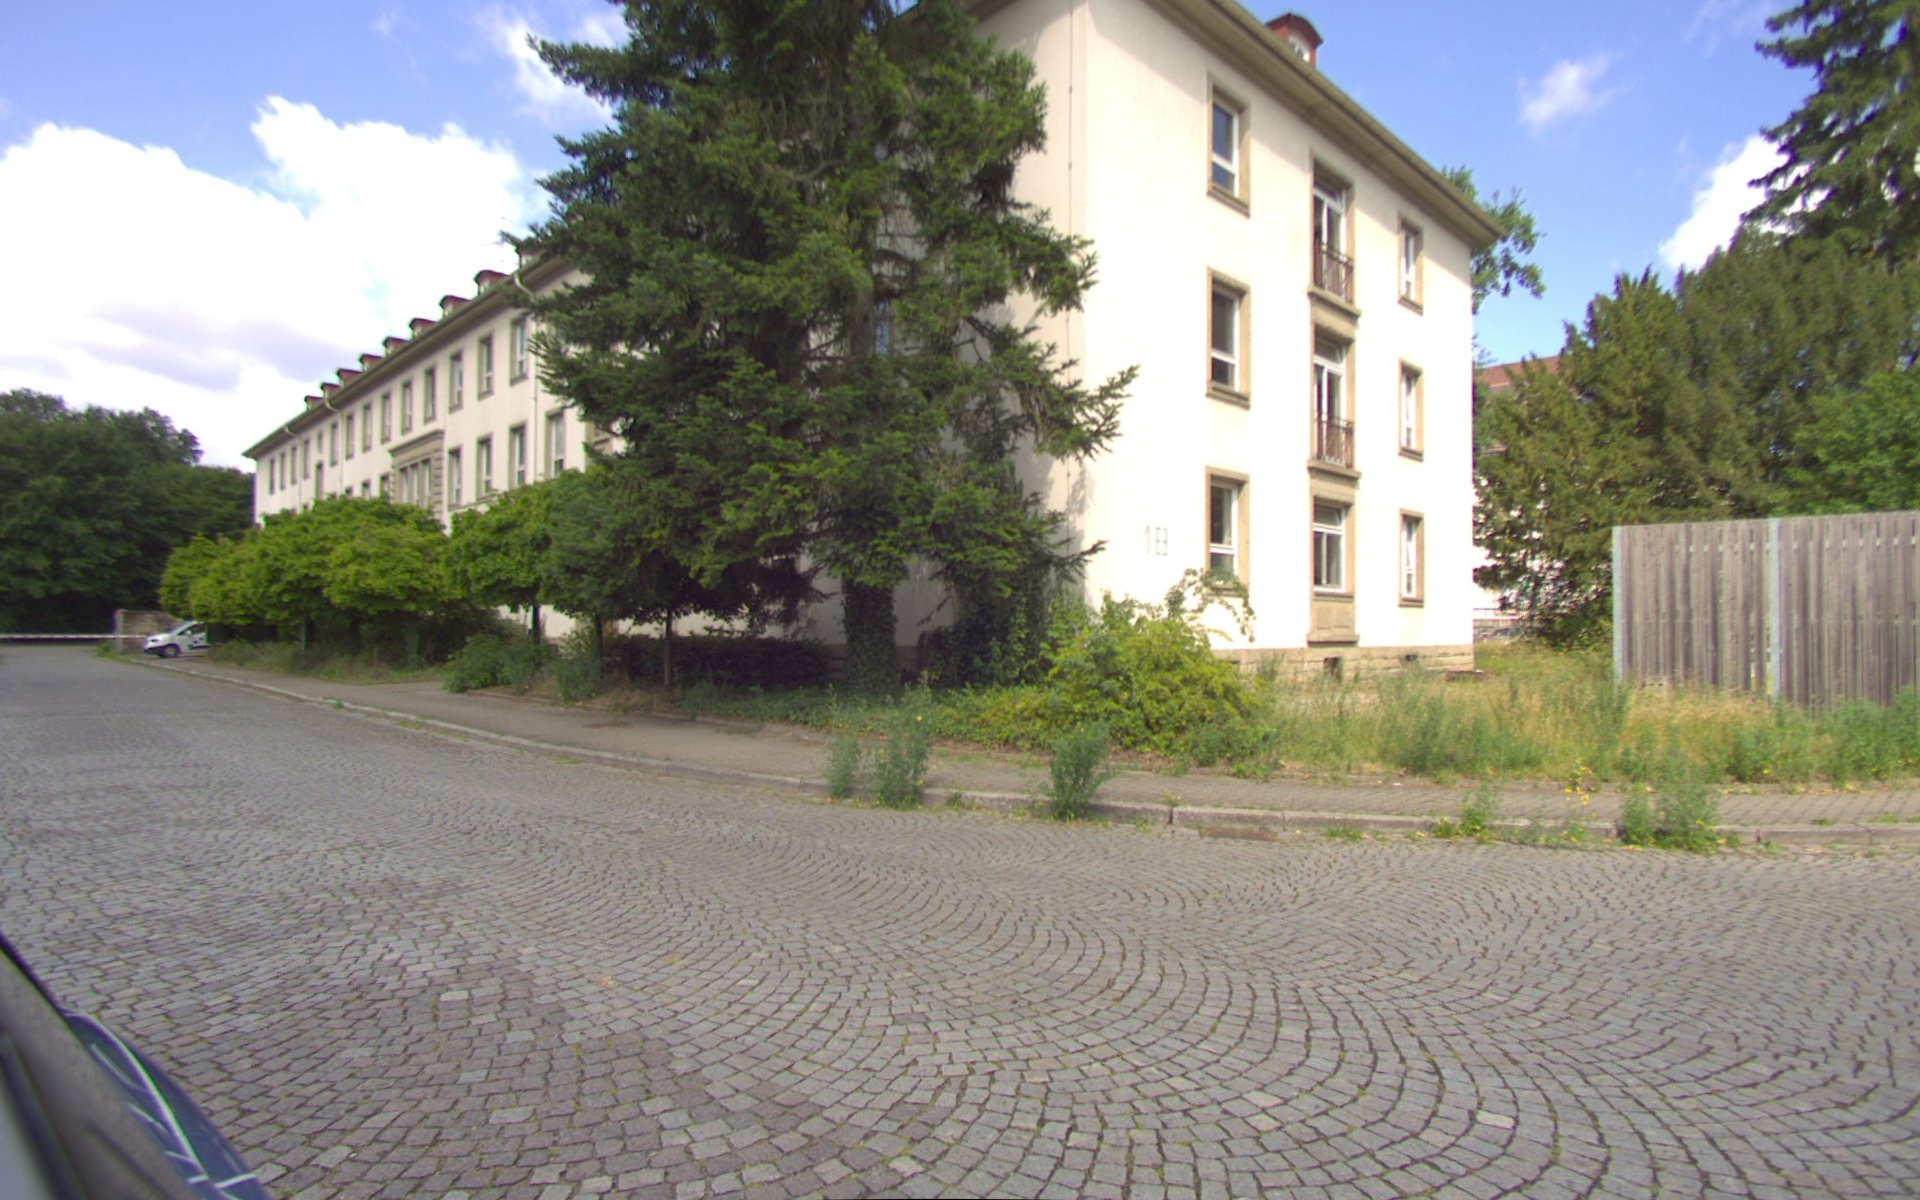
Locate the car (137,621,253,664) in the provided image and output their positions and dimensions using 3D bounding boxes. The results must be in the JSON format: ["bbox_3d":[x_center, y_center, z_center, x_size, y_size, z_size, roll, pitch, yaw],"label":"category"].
[{"bbox_3d":[-37.446,2.041,49.589,1.820,1.819,4.254,-1,1,42],"label":"car"}]
